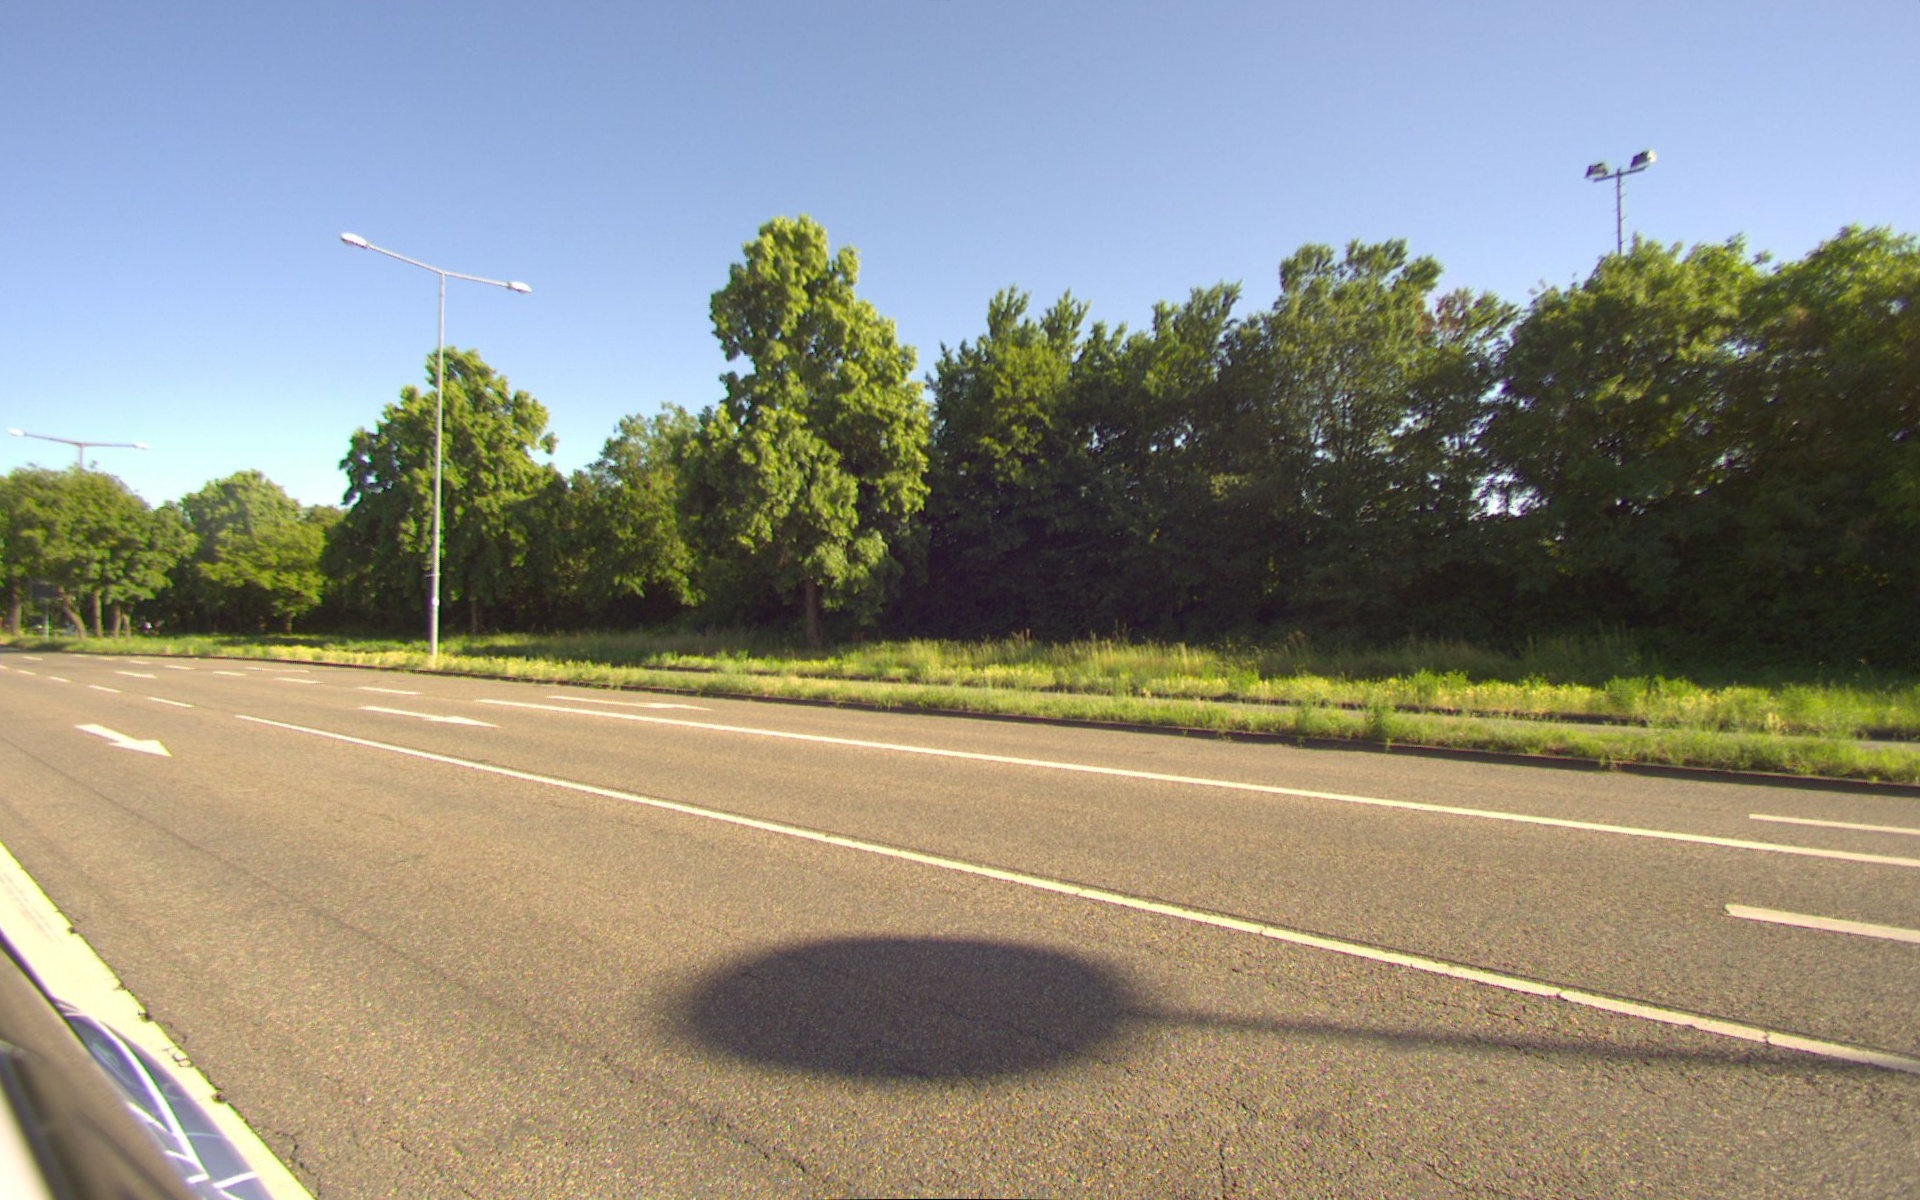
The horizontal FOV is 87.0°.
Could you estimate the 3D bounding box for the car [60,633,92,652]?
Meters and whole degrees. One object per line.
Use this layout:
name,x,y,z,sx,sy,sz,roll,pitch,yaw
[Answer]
car,-89.323,4.297,102.262,4.406,1.716,1.892,0,0,42
